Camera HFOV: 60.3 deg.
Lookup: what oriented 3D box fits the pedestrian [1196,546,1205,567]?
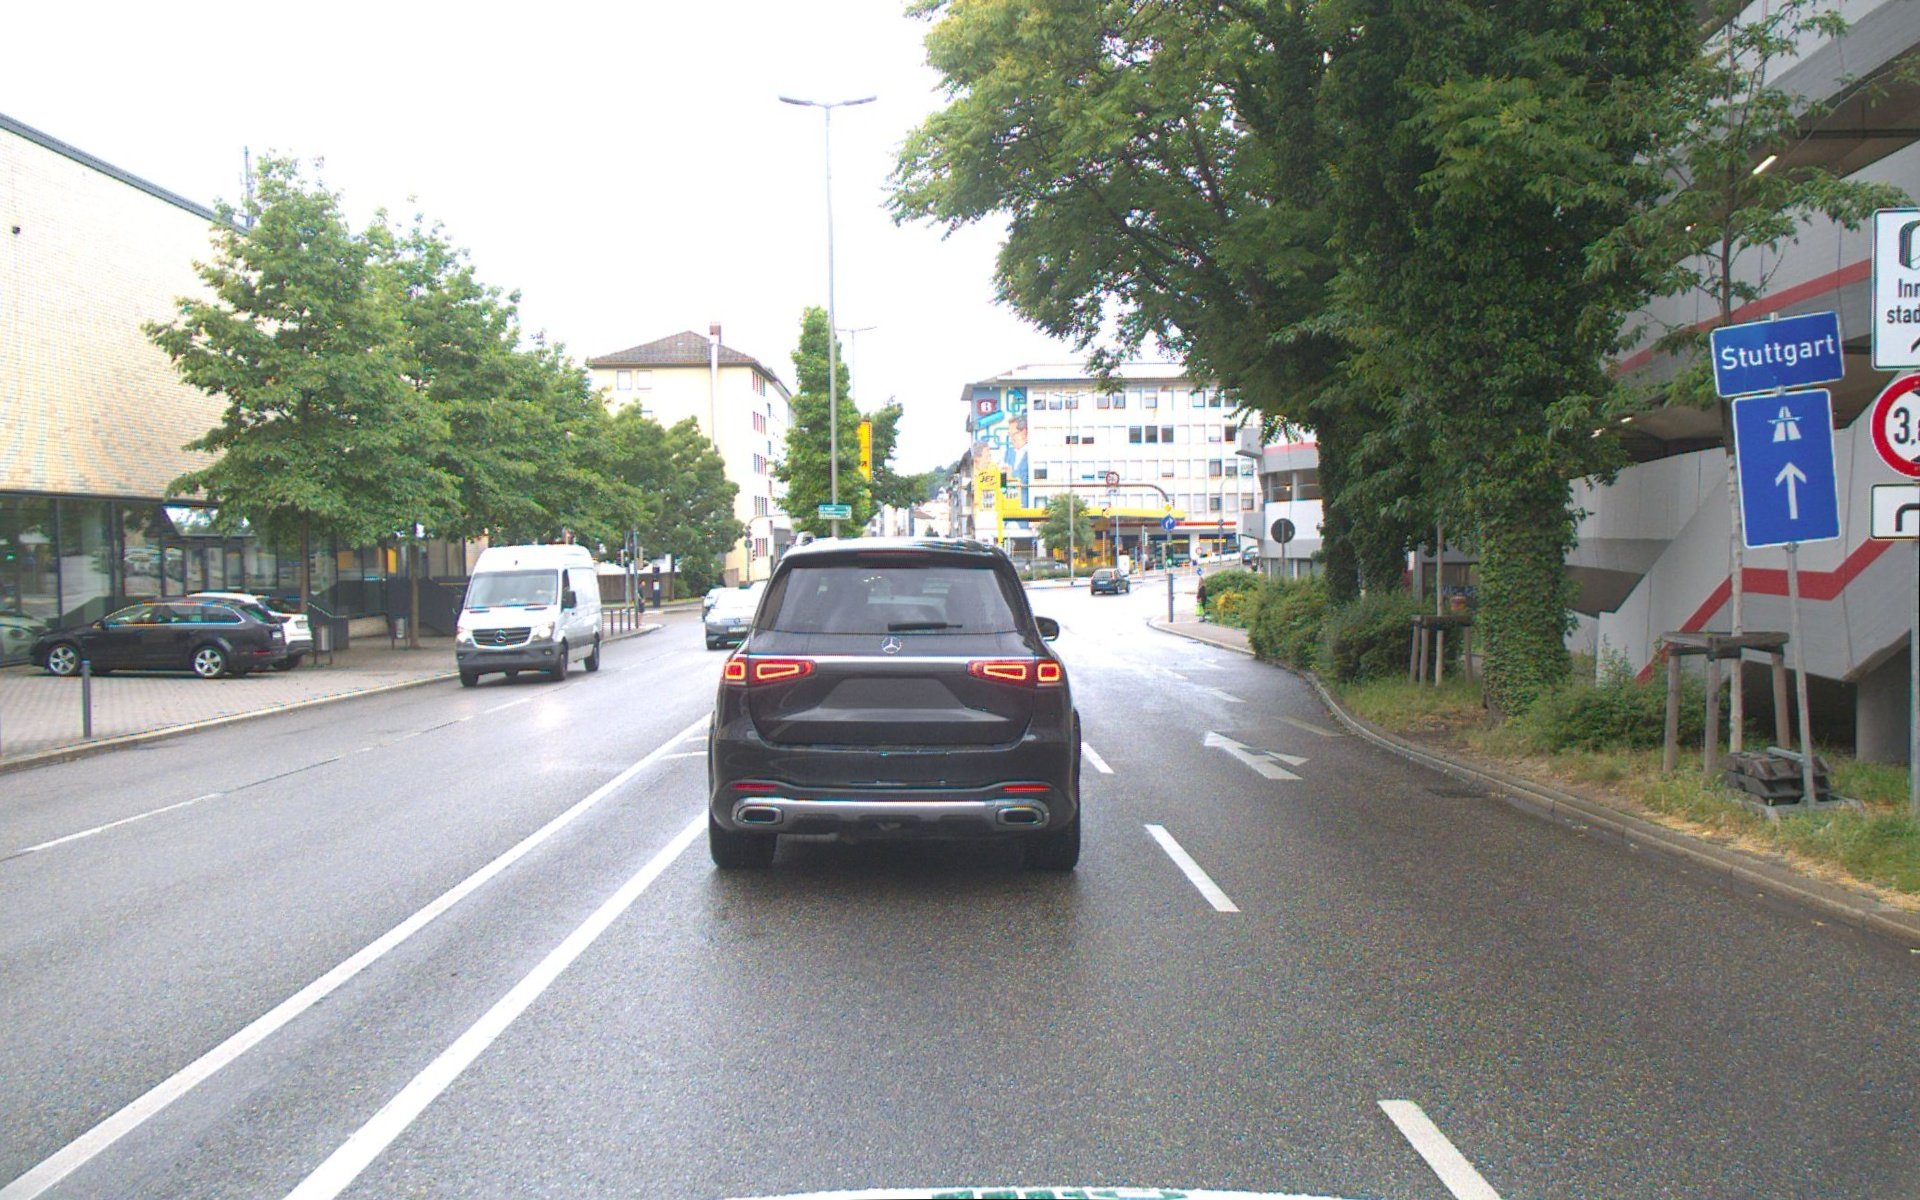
[{"bbox_3d":[19.966,-3.605,137.151,0.515,1.757,0.689,0,1,26],"label":"pedestrian"}]

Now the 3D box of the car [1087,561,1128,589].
[{"bbox_3d":[8.594,-1.468,96.115,1.758,1.552,4.059,1,1,14],"label":"car"}]

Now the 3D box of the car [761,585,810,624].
[{"bbox_3d":[-7.333,0.179,69.785,1.776,1.487,4.285,-3,0,-3],"label":"car"}]

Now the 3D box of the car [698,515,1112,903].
[{"bbox_3d":[-0.289,0.533,9.935,1.953,1.832,3.999,1,0,-1],"label":"car"}]

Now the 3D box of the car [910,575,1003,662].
[{"bbox_3d":[-0.108,0.406,37.311,1.953,1.832,3.999,1,0,-1],"label":"car"}]

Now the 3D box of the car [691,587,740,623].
[{"bbox_3d":[-10.866,0.219,73.707,1.761,1.521,3.801,1,0,-3],"label":"car"}]

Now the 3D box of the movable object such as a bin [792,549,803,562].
[{"bbox_3d":[-13.849,-3.823,141.072,0.891,1.056,0.844,1,0,0],"label":"movable object such as a bin"}]

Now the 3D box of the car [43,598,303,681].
[{"bbox_3d":[-15.189,0.753,32.136,4.097,1.521,1.997,1,0,-8],"label":"car"}]

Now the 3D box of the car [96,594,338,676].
[{"bbox_3d":[-15.391,0.714,34.436,4.090,1.574,2.000,1,0,0],"label":"car"}]

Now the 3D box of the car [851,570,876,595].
[{"bbox_3d":[-7.331,-1.316,125.731,1.830,1.871,3.818,1,0,-2],"label":"car"}]

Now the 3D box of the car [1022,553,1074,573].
[{"bbox_3d":[6.847,-2.891,128.665,1.724,1.400,3.935,-3,1,-44],"label":"car"}]

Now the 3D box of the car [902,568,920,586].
[{"bbox_3d":[-5.917,-2.802,200.322,1.953,2.049,4.000,1,0,0],"label":"car"}]

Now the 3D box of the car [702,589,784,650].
[{"bbox_3d":[-5.993,0.509,46.122,1.846,1.524,4.559,-2,0,-3],"label":"car"}]

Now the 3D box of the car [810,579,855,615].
[{"bbox_3d":[-7.031,-0.191,91.473,1.852,1.843,4.576,-3,0,2],"label":"car"}]

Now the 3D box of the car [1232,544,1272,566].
[{"bbox_3d":[24.528,-3.811,138.846,1.958,1.735,3.990,-1,1,33],"label":"car"}]

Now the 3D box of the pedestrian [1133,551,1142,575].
[{"bbox_3d":[12.963,-2.680,120.595,0.560,1.727,0.631,1,-1,0],"label":"pedestrian"}]

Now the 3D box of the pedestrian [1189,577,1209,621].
[{"bbox_3d":[9.482,-0.046,65.551,0.634,1.740,0.470,0,-1,35],"label":"pedestrian"}]

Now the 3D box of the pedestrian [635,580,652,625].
[{"bbox_3d":[-12.903,0.099,67.417,0.675,1.788,0.716,-1,1,-12],"label":"pedestrian"}]

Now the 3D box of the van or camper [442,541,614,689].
[{"bbox_3d":[-8.542,0.268,33.300,2.060,2.627,5.905,-2,0,-3],"label":"van or camper"}]

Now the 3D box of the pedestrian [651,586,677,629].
[{"bbox_3d":[-12.301,0.313,68.729,0.931,1.734,0.709,1,-1,-18],"label":"pedestrian"}]
